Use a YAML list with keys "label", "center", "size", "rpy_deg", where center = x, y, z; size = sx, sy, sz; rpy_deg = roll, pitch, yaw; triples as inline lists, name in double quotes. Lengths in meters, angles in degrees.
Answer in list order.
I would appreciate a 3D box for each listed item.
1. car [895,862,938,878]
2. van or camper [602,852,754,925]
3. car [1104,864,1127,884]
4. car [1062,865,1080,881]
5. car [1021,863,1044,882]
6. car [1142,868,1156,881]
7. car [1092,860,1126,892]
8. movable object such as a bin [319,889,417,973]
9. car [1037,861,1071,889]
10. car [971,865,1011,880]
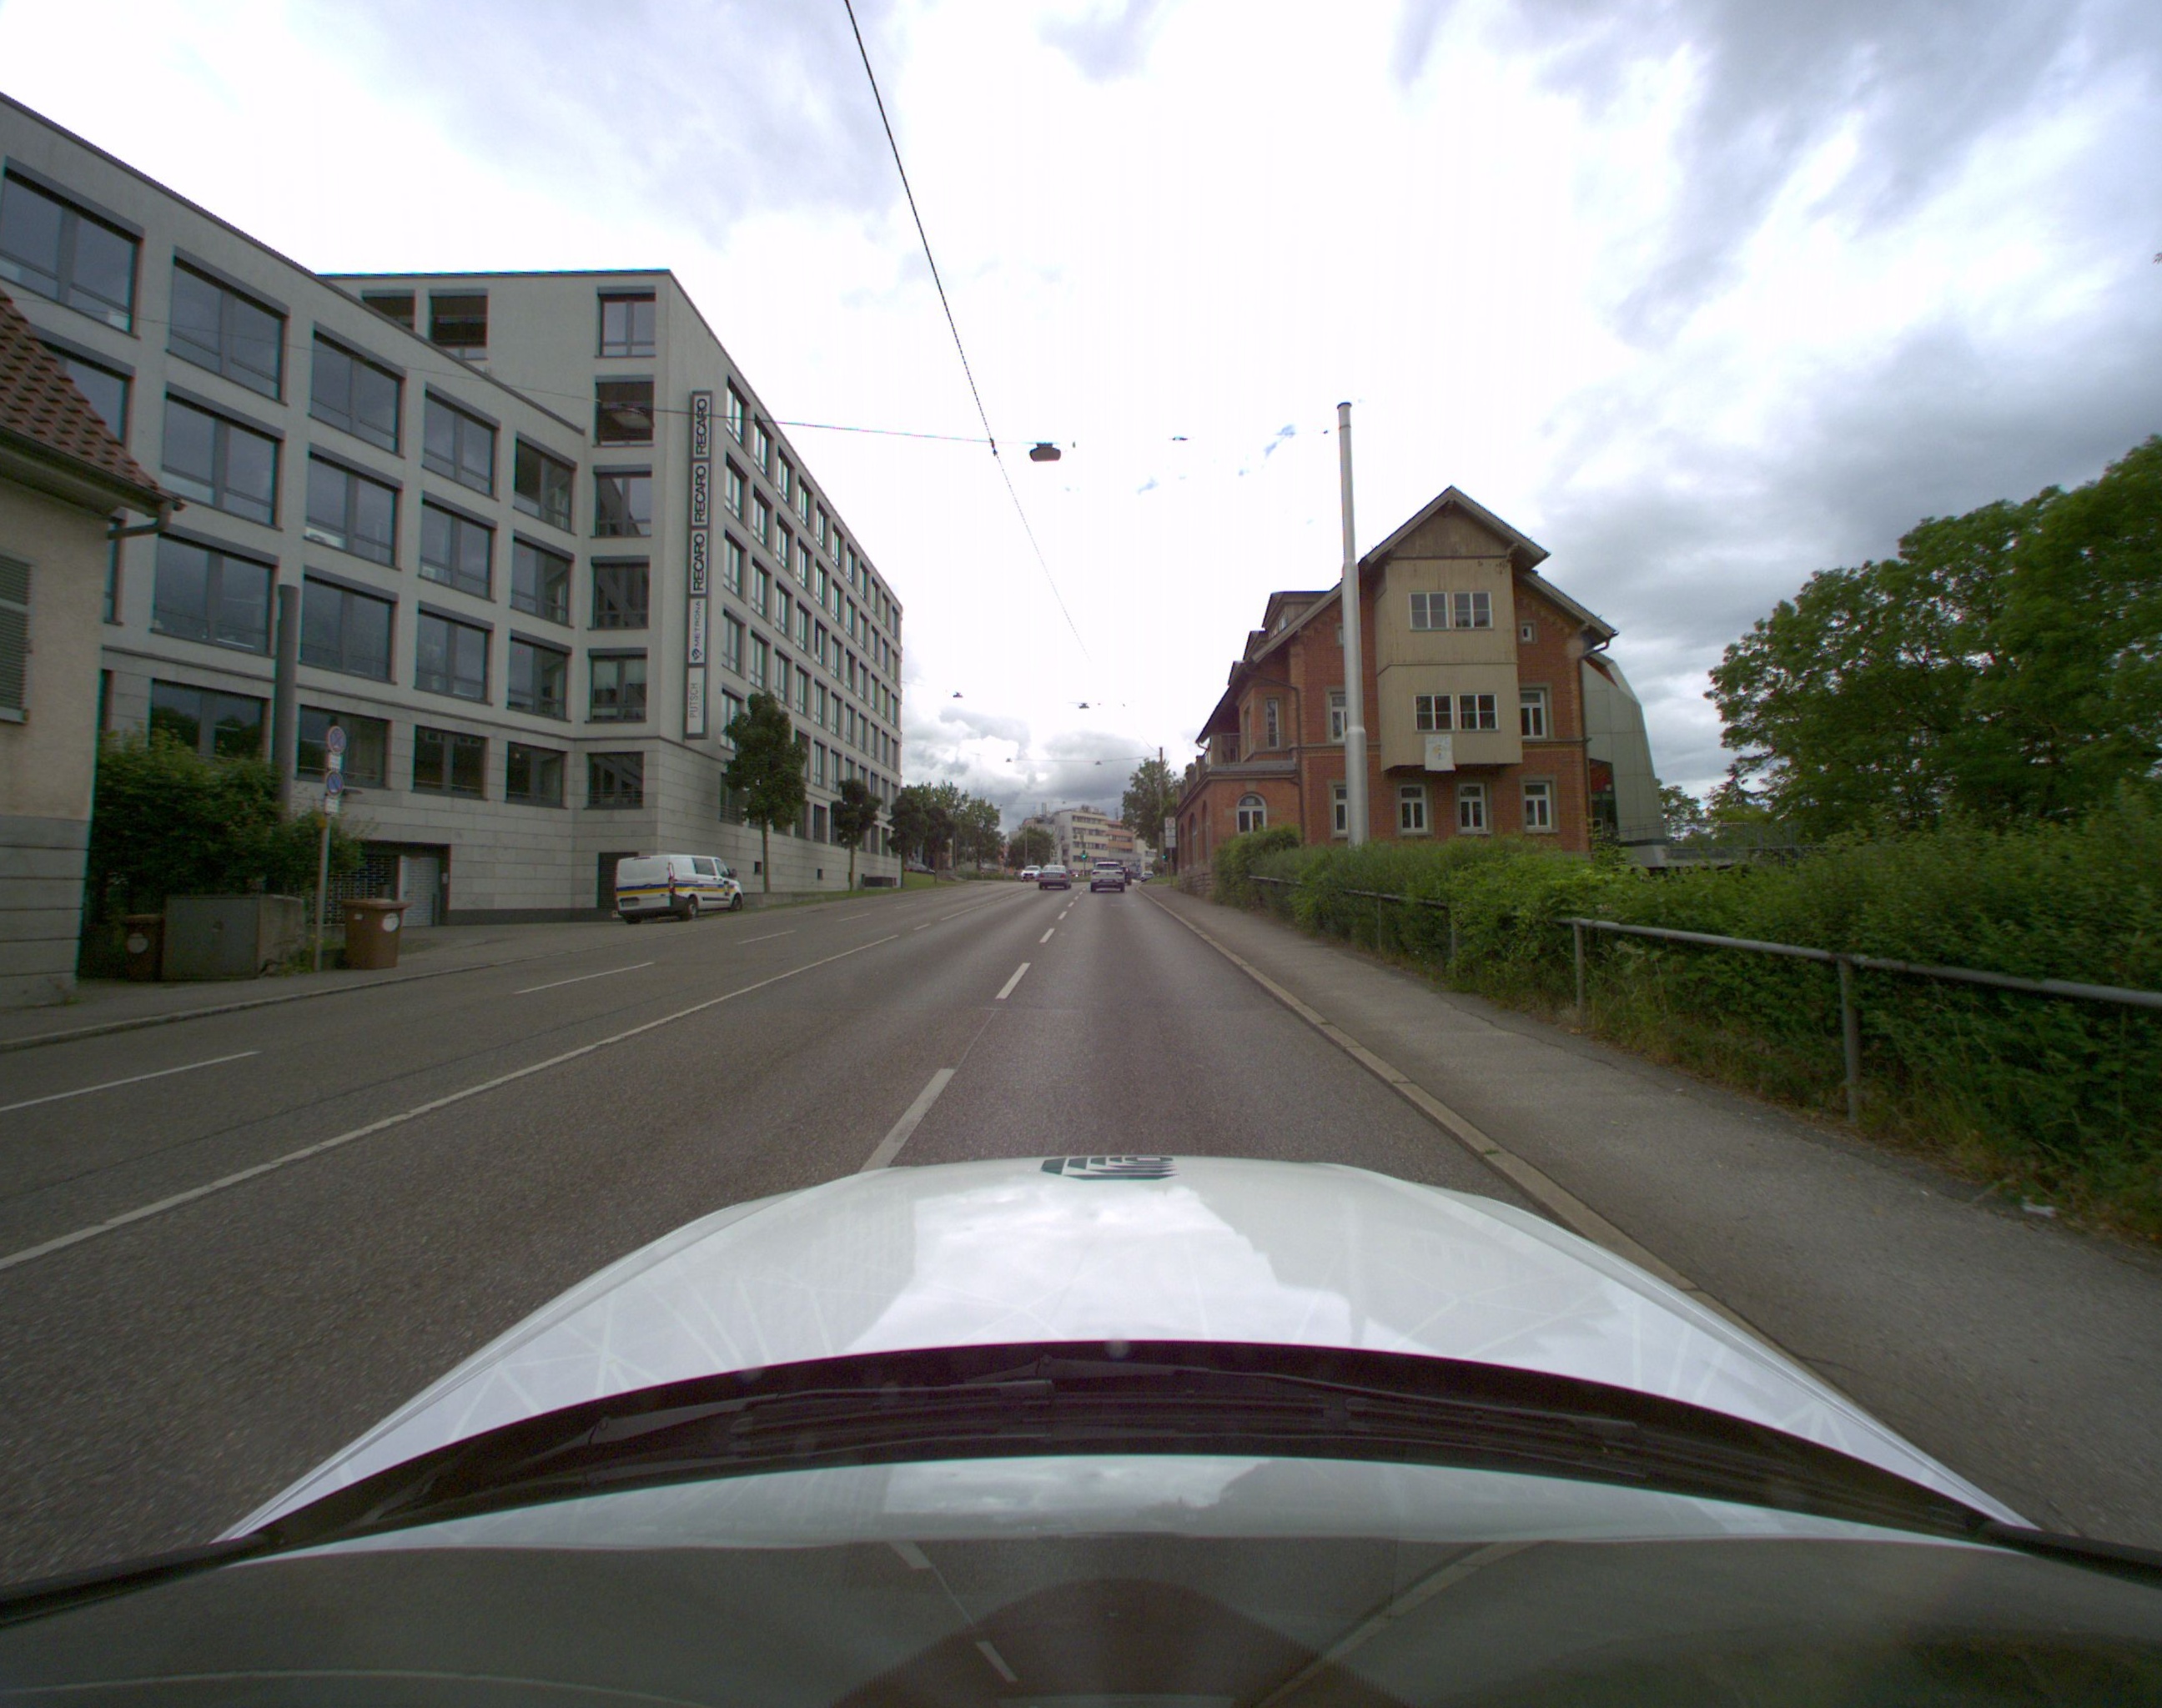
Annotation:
- label: "car"
  center: [-16.191, 1.595, 80.278]
  size: [1.759, 1.463, 4.466]
  rpy_deg: [1, -1, 27]
- label: "van or camper"
  center: [-12.450, 1.007, 25.593]
  size: [2.052, 1.968, 4.876]
  rpy_deg: [-3, -1, 3]
- label: "car"
  center: [2.700, 1.579, 62.934]
  size: [1.693, 1.516, 3.495]
  rpy_deg: [0, -2, 3]
- label: "car"
  center: [-1.152, 2.217, 96.816]
  size: [1.862, 1.702, 4.431]
  rpy_deg: [-3, -1, 2]
- label: "car"
  center: [-5.027, 1.886, 85.134]
  size: [1.862, 1.789, 4.656]
  rpy_deg: [-3, -1, 2]
- label: "car"
  center: [8.812, 2.602, 105.132]
  size: [1.761, 1.571, 4.292]
  rpy_deg: [-1, -1, 6]
- label: "car"
  center: [1.482, 1.145, 43.214]
  size: [1.693, 1.548, 3.737]
  rpy_deg: [2, 0, 2]
- label: "movable object such as a bin"
  center: [-10.933, 1.166, 12.522]
  size: [0.808, 1.189, 0.697]
  rpy_deg: [3, -1, -5]
- label: "car"
  center: [-1.531, 1.191, 46.849]
  size: [1.693, 1.516, 3.737]
  rpy_deg: [-1, 0, 2]
- label: "car"
  center: [-9.569, 1.984, 86.559]
  size: [4.023, 1.544, 1.759]
  rpy_deg: [1, -2, -45]
